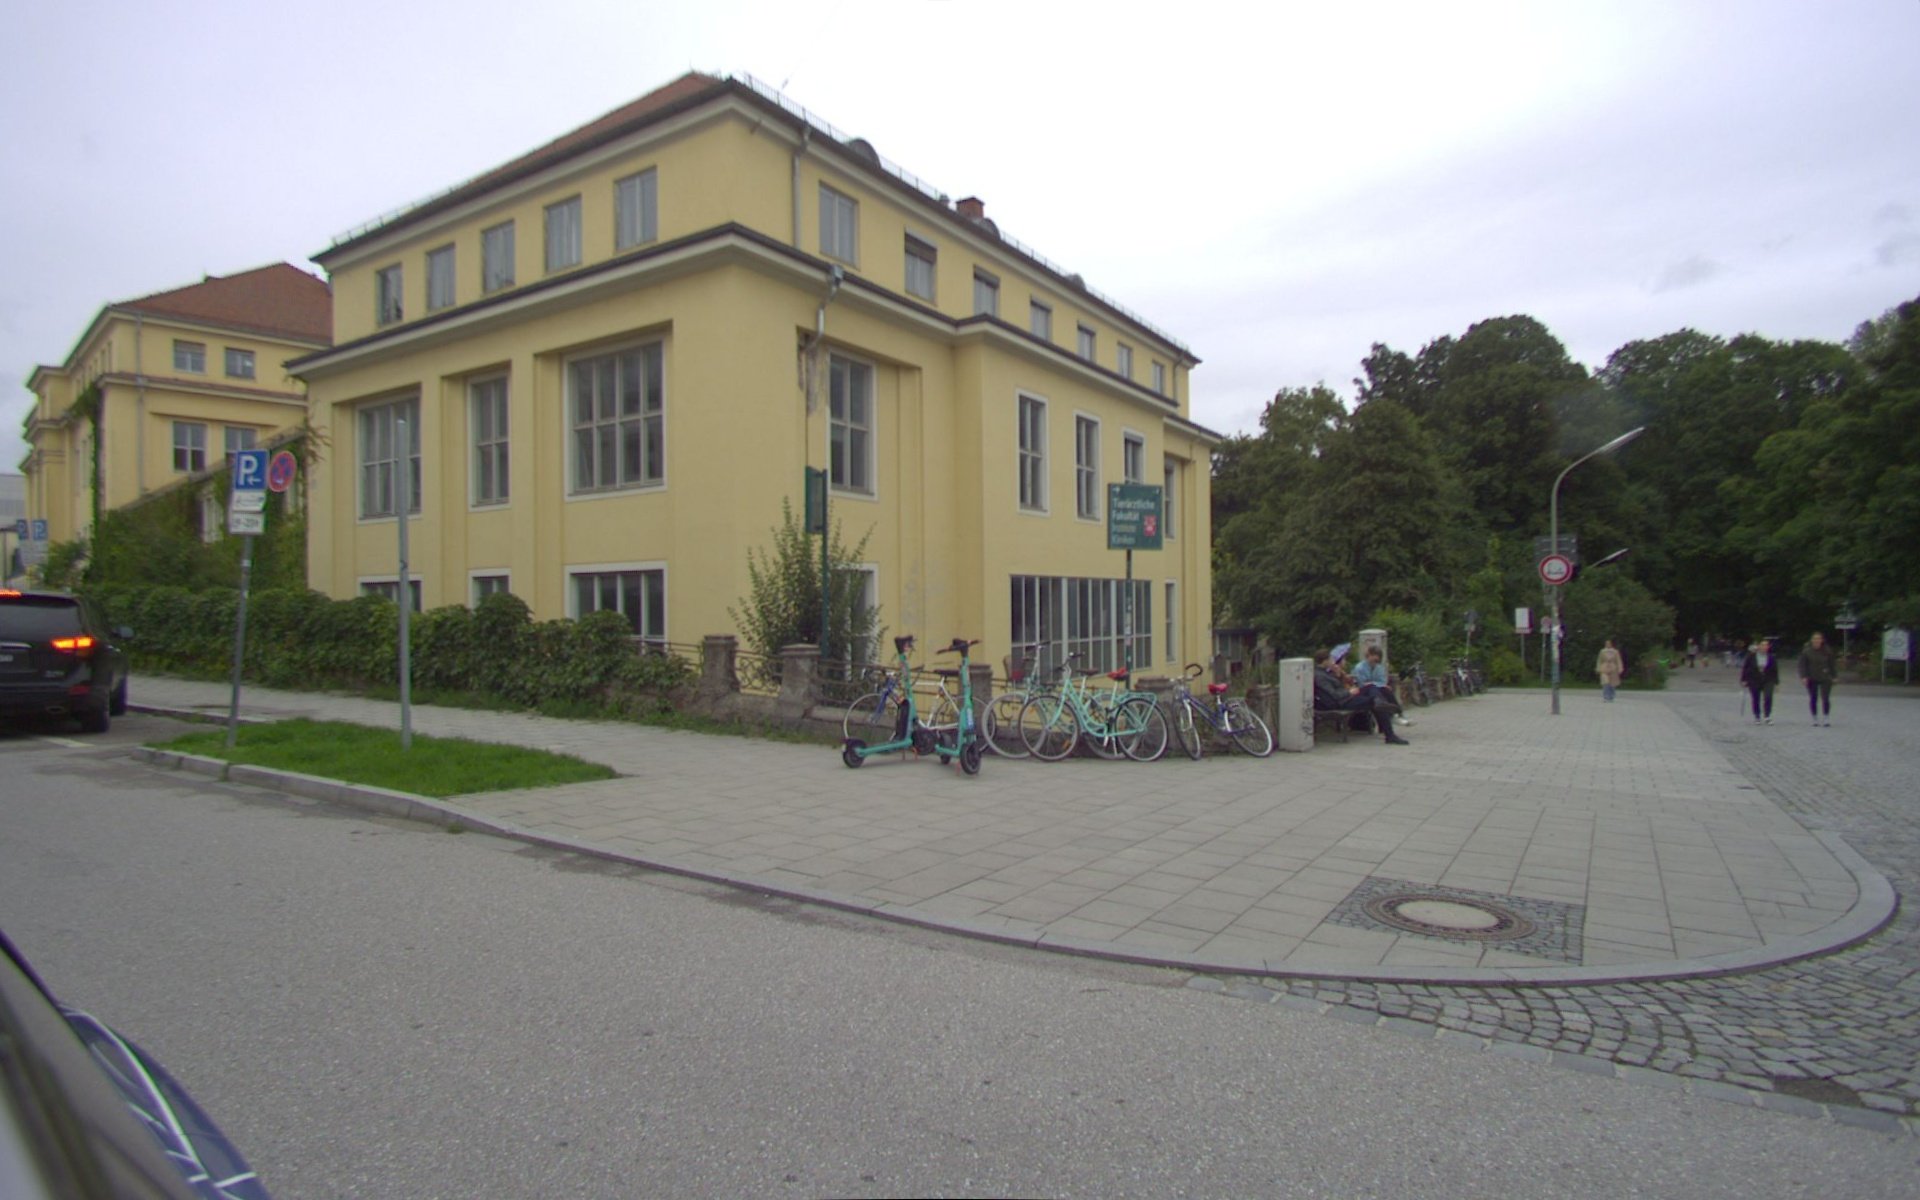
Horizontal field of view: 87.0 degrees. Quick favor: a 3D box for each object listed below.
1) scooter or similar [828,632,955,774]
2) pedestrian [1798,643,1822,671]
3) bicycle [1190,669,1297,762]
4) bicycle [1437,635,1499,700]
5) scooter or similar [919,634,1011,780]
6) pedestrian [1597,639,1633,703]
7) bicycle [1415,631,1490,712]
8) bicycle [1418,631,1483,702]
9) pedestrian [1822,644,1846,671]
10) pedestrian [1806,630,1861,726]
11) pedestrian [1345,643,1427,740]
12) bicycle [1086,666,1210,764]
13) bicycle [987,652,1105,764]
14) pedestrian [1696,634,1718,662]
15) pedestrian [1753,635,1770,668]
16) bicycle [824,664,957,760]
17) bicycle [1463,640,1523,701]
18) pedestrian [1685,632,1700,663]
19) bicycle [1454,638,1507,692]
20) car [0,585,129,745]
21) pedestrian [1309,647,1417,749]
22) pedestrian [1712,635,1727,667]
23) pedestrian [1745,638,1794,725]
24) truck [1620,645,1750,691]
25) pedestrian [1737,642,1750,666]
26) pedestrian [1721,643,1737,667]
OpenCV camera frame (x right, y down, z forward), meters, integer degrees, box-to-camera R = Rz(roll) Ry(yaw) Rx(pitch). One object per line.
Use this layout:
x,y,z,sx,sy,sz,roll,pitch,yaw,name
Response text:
-0.643,0.948,9.716,1.245,1.253,0.395,1,0,-45,scooter or similar
51.259,3.447,61.025,0.721,1.665,0.885,1,-2,-32,pedestrian
3.251,1.299,11.585,1.254,0.985,0.415,1,-2,-30,bicycle
14.233,1.850,28.466,1.044,1.674,3.133,-1,-1,18,bicycle
0.027,0.951,9.388,0.432,1.221,1.057,1,0,-24,scooter or similar
18.500,1.984,28.609,0.746,1.719,1.100,-1,-1,30,pedestrian
11.078,1.552,22.910,1.044,1.674,3.134,-1,-1,18,bicycle
12.465,1.643,25.822,1.044,1.674,2.986,-1,-1,18,bicycle
53.810,3.536,62.318,0.874,1.665,0.729,-1,-2,17,pedestrian
16.057,1.416,18.626,0.659,1.710,0.742,-1,-2,36,pedestrian
6.331,1.328,15.024,1.028,1.345,0.947,-1,-1,28,pedestrian
2.022,1.214,10.889,1.254,0.985,0.416,0,-2,-19,bicycle
0.896,1.113,10.536,1.171,1.119,0.302,1,-1,-15,bicycle
54.650,3.514,74.029,1.047,2.029,1.137,-1,-2,27,pedestrian
49.843,3.174,62.961,0.695,2.029,0.710,-2,-3,34,pedestrian
-0.727,1.156,10.651,1.318,0.900,0.432,1,0,16,bicycle
16.071,2.071,30.614,1.044,1.674,3.133,-1,-1,18,bicycle
47.549,3.080,65.713,0.695,2.029,0.710,-2,-3,34,pedestrian
17.797,2.189,34.699,1.043,1.674,3.134,-1,-1,17,bicycle
-11.862,0.756,12.779,1.968,1.732,4.624,0,-1,-38,car
5.436,1.283,13.633,1.260,1.278,0.842,-1,-1,28,pedestrian
48.414,3.227,64.519,0.695,2.029,0.710,-2,-3,34,pedestrian
15.378,1.532,19.239,0.691,1.593,0.742,-2,-2,38,pedestrian
41.101,3.823,57.540,5.436,2.480,2.391,-1,-1,12,truck
48.891,3.384,63.188,0.538,1.506,0.538,-1,-2,31,pedestrian
48.253,3.435,63.499,0.661,1.506,0.622,-1,-2,31,pedestrian
